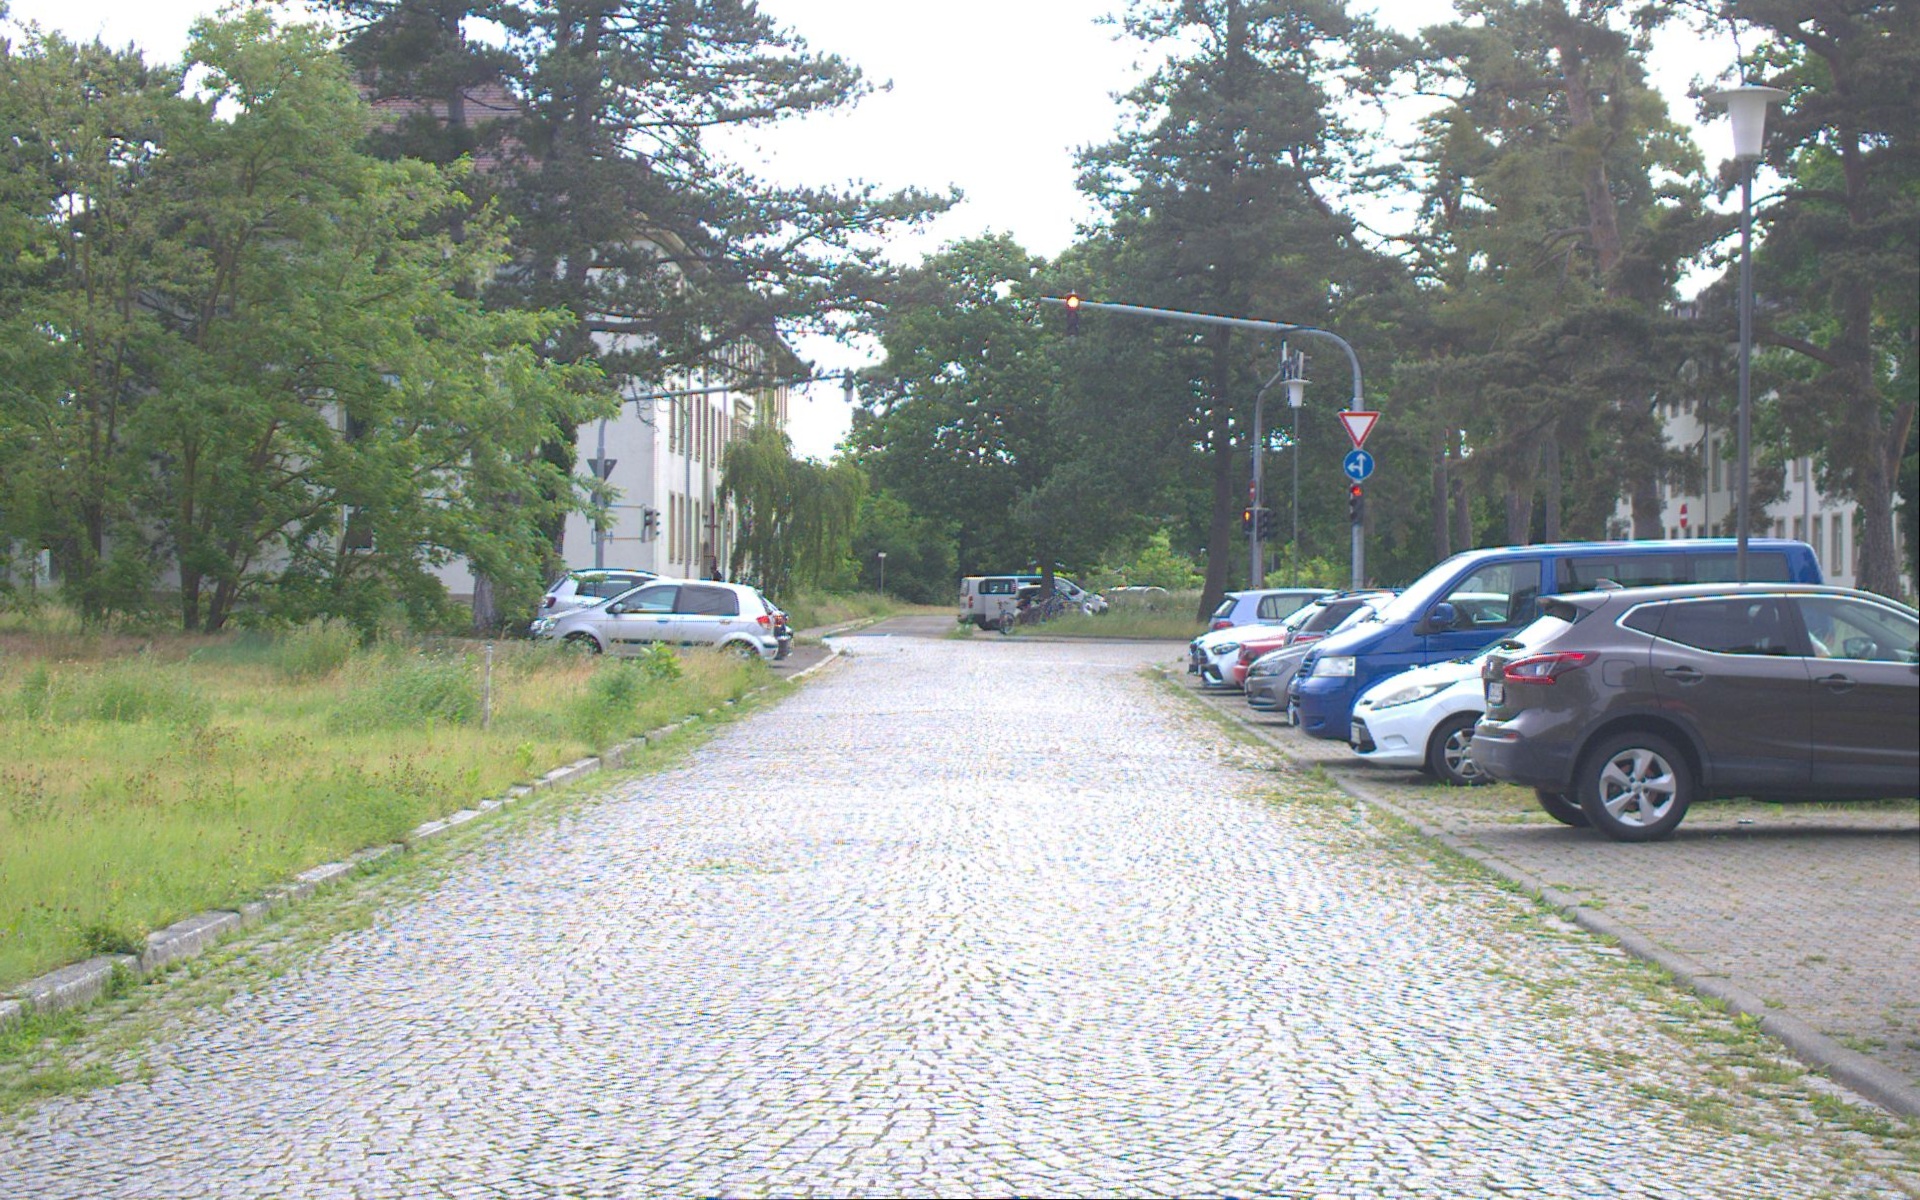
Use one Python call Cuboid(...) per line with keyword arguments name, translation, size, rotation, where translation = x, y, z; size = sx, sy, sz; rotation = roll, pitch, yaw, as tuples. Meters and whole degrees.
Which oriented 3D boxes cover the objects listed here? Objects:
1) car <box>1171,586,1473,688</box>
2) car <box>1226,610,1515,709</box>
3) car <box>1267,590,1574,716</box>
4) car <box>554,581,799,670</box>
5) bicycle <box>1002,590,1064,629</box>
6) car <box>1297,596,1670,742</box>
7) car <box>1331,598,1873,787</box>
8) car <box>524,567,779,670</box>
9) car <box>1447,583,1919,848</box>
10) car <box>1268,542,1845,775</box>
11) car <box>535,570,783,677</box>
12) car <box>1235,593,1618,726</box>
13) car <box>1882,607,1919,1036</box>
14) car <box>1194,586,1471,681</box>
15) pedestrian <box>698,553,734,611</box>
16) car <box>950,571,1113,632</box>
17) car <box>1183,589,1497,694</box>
Cuboid(name="car", translation=(5.457, 0.544, 51.983), size=(4.227, 1.474, 1.710), rotation=(0, 0, -10))
Cuboid(name="car", translation=(5.273, 0.761, 44.515), size=(3.587, 1.218, 1.628), rotation=(0, 0, 2))
Cuboid(name="car", translation=(5.572, 0.631, 41.883), size=(3.505, 1.482, 1.743), rotation=(0, 0, 0))
Cuboid(name="car", translation=(-5.082, 0.448, 61.648), size=(4.297, 1.548, 1.812), rotation=(0, 0, -5))
Cuboid(name="bicycle", translation=(2.332, 0.296, 110.213), size=(1.881, 1.167, 0.665), rotation=(2, 0, -4))
Cuboid(name="car", translation=(5.450, 0.704, 36.112), size=(3.653, 1.474, 1.765), rotation=(0, 0, 1))
Cuboid(name="car", translation=(5.218, 0.733, 28.262), size=(4.097, 1.474, 1.722), rotation=(0, 0, -2))
Cuboid(name="car", translation=(-5.294, 0.310, 59.197), size=(4.297, 1.726, 1.653), rotation=(0, 0, -4))
Cuboid(name="car", translation=(5.361, 0.696, 21.901), size=(4.203, 1.589, 1.953), rotation=(0, 0, -1))
Cuboid(name="car", translation=(5.268, 0.499, 30.805), size=(4.795, 1.997, 1.966), rotation=(0, 0, -1))
Cuboid(name="car", translation=(-4.681, 0.352, 53.784), size=(3.720, 1.476, 1.673), rotation=(3, 0, -2))
Cuboid(name="car", translation=(5.241, 0.659, 39.021), size=(4.130, 1.442, 1.765), rotation=(0, 0, 1))
Cuboid(name="car", translation=(5.316, 0.773, 11.596), size=(3.923, 1.491, 1.785), rotation=(0, 0, -1))
Cuboid(name="car", translation=(5.887, 0.517, 54.529), size=(4.134, 1.458, 1.634), rotation=(0, 0, -4))
Cuboid(name="pedestrian", translation=(-8.482, -0.614, 119.412), size=(1.074, 1.952, 1.121), rotation=(2, 0, 1))
Cuboid(name="car", translation=(2.520, 0.055, 121.518), size=(5.374, 2.094, 2.179), rotation=(1, 0, -11))
Cuboid(name="car", translation=(5.410, 0.579, 49.217), size=(4.184, 1.432, 1.755), rotation=(0, 0, -6))
